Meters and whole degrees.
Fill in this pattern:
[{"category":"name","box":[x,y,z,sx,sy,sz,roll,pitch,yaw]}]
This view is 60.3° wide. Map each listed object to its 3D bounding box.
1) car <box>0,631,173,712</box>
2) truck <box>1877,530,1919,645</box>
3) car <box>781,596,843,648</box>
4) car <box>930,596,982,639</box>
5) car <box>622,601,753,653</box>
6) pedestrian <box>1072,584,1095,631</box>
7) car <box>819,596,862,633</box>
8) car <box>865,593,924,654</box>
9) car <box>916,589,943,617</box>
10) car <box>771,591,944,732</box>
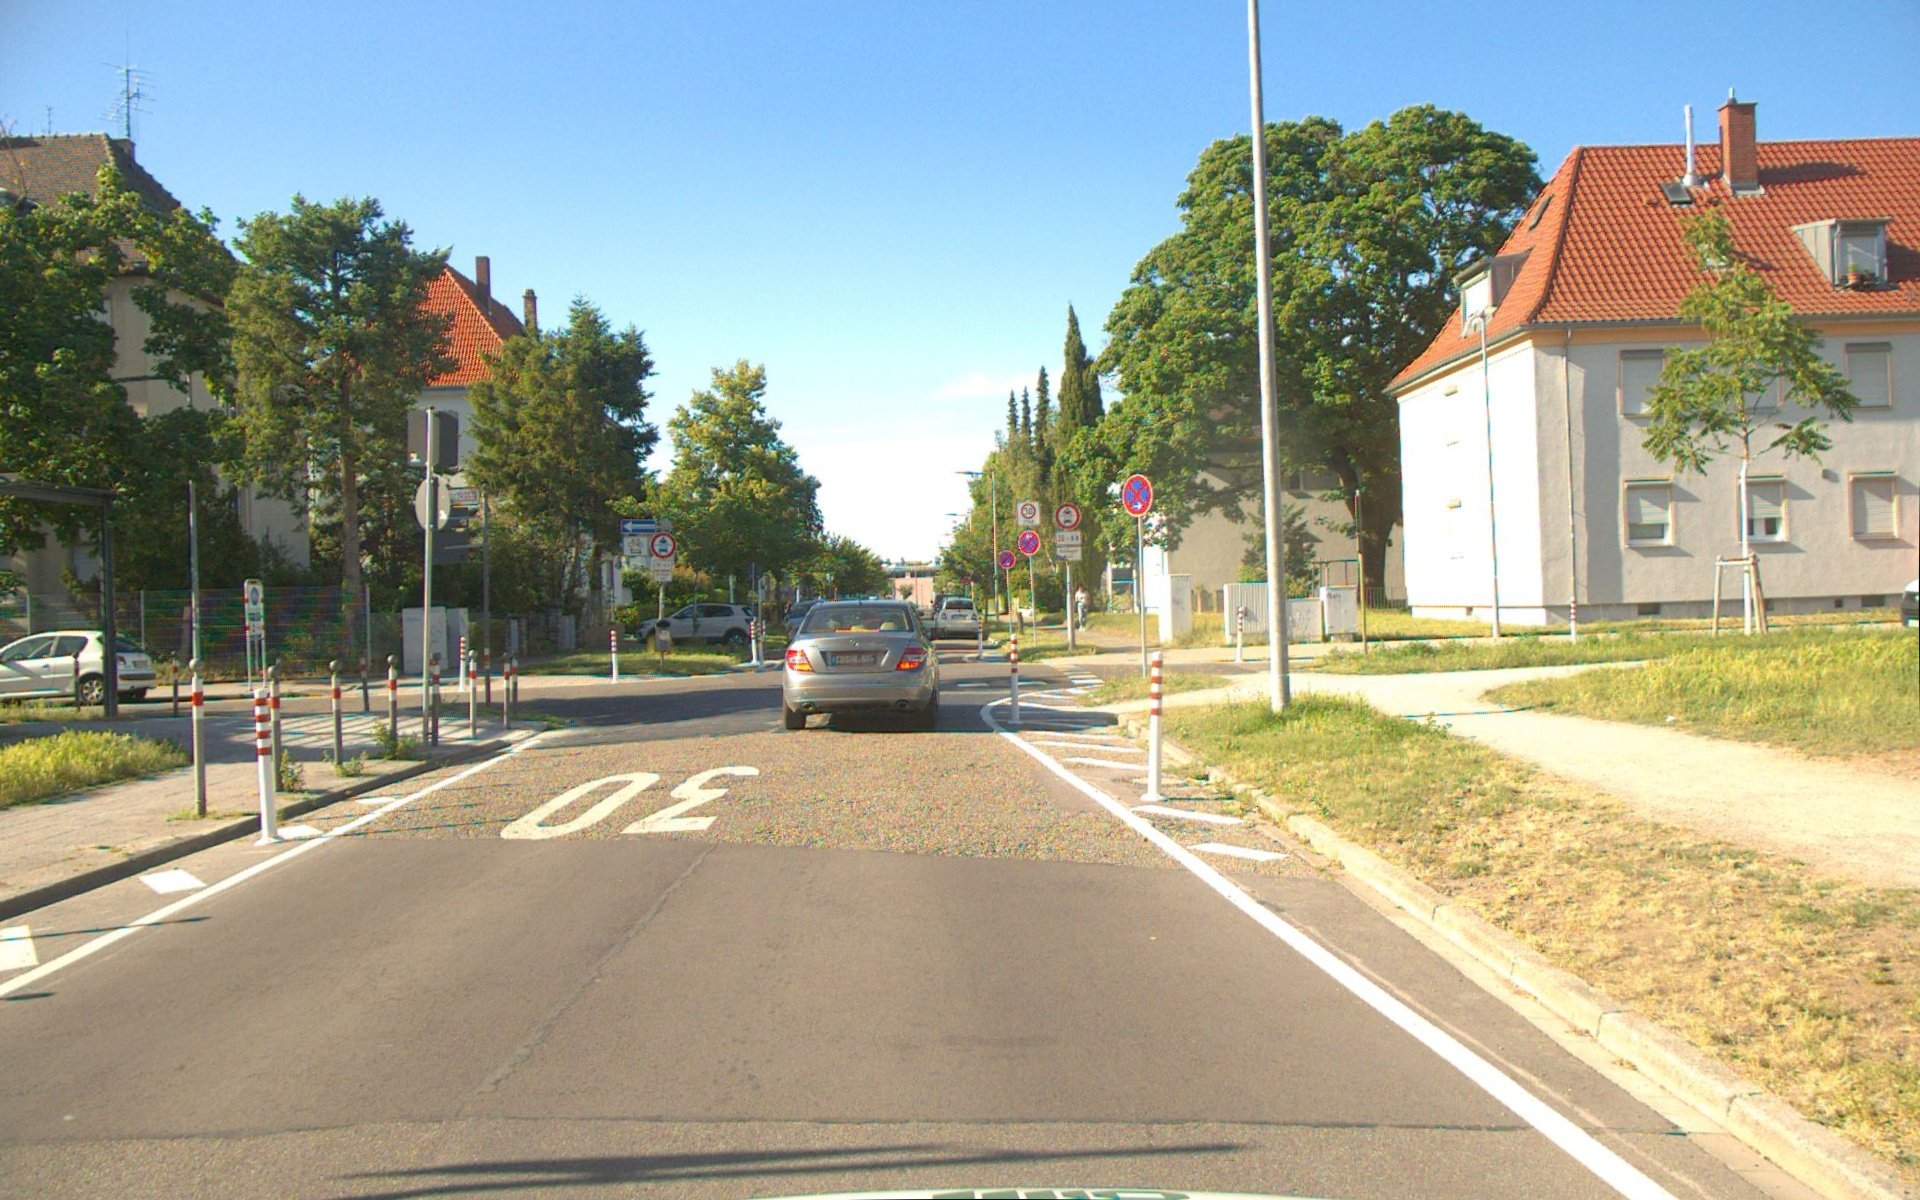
[{"category":"car","box":[-17.653,1.397,32.291,3.688,1.423,1.706,-2,-1,-2]},{"category":"truck","box":[19.621,-0.320,30.076,4.760,2.071,1.999,-2,0,-2]},{"category":"car","box":[-5.350,0.760,60.173,1.955,1.637,3.997,-6,0,-3]},{"category":"car","box":[-0.183,0.651,62.652,1.699,1.505,3.722,-2,0,-3]},{"category":"car","box":[-9.004,0.889,54.888,4.110,1.591,1.840,-1,0,-5]},{"category":"pedestrian","box":[4.411,0.273,59.025,0.750,1.639,0.834,-2,0,3]},{"category":"car","box":[-6.003,0.722,83.594,1.955,1.637,3.997,-6,0,-3]},{"category":"car","box":[-1.939,0.643,48.085,1.565,1.638,3.641,-2,0,-3]},{"category":"car","box":[-2.217,0.215,118.459,1.817,1.873,3.998,-2,0,-2]},{"category":"car","box":[-1.123,0.657,19.731,1.798,1.466,4.000,-1,0,0]}]
